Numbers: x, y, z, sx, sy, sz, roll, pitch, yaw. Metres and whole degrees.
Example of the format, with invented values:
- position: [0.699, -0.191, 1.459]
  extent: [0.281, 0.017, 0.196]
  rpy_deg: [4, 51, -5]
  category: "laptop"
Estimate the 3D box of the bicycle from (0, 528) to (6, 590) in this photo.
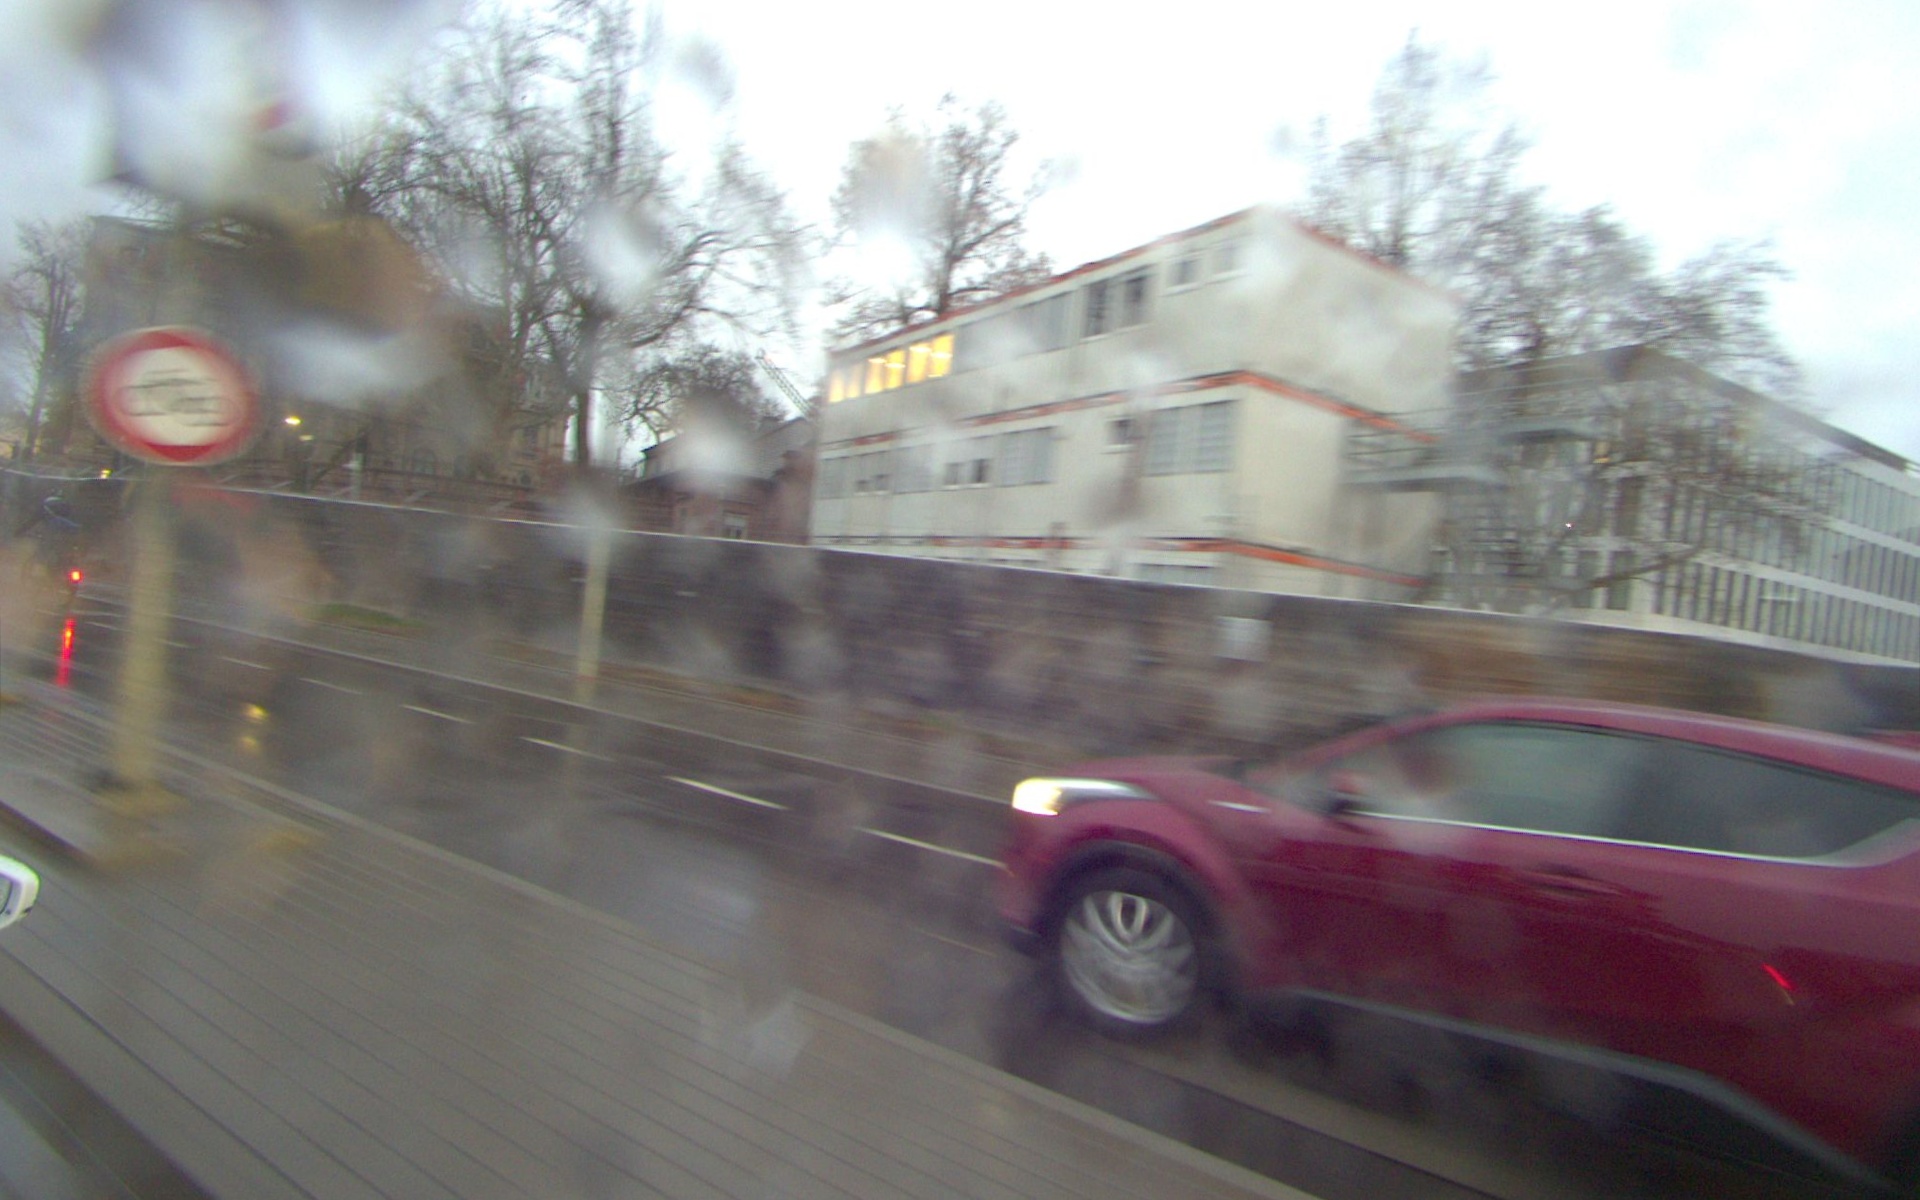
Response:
- position: [-18.410, -0.800, 18.644]
  extent: [1.915, 1.200, 0.412]
  rpy_deg: [7, 1, 29]
  category: "bicycle"

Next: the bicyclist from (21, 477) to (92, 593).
- position: [-14.732, -1.062, 16.403]
  extent: [0.823, 1.789, 0.501]
  rpy_deg: [7, 1, 28]
  category: "bicyclist"

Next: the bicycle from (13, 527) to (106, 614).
- position: [-14.536, -0.484, 16.222]
  extent: [1.994, 1.200, 0.412]
  rpy_deg: [7, 1, 29]
  category: "bicycle"

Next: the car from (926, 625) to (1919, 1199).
- position: [2.039, 1.091, 3.954]
  extent: [3.935, 1.496, 1.725]
  rpy_deg: [5, -3, 32]
  category: "car"
